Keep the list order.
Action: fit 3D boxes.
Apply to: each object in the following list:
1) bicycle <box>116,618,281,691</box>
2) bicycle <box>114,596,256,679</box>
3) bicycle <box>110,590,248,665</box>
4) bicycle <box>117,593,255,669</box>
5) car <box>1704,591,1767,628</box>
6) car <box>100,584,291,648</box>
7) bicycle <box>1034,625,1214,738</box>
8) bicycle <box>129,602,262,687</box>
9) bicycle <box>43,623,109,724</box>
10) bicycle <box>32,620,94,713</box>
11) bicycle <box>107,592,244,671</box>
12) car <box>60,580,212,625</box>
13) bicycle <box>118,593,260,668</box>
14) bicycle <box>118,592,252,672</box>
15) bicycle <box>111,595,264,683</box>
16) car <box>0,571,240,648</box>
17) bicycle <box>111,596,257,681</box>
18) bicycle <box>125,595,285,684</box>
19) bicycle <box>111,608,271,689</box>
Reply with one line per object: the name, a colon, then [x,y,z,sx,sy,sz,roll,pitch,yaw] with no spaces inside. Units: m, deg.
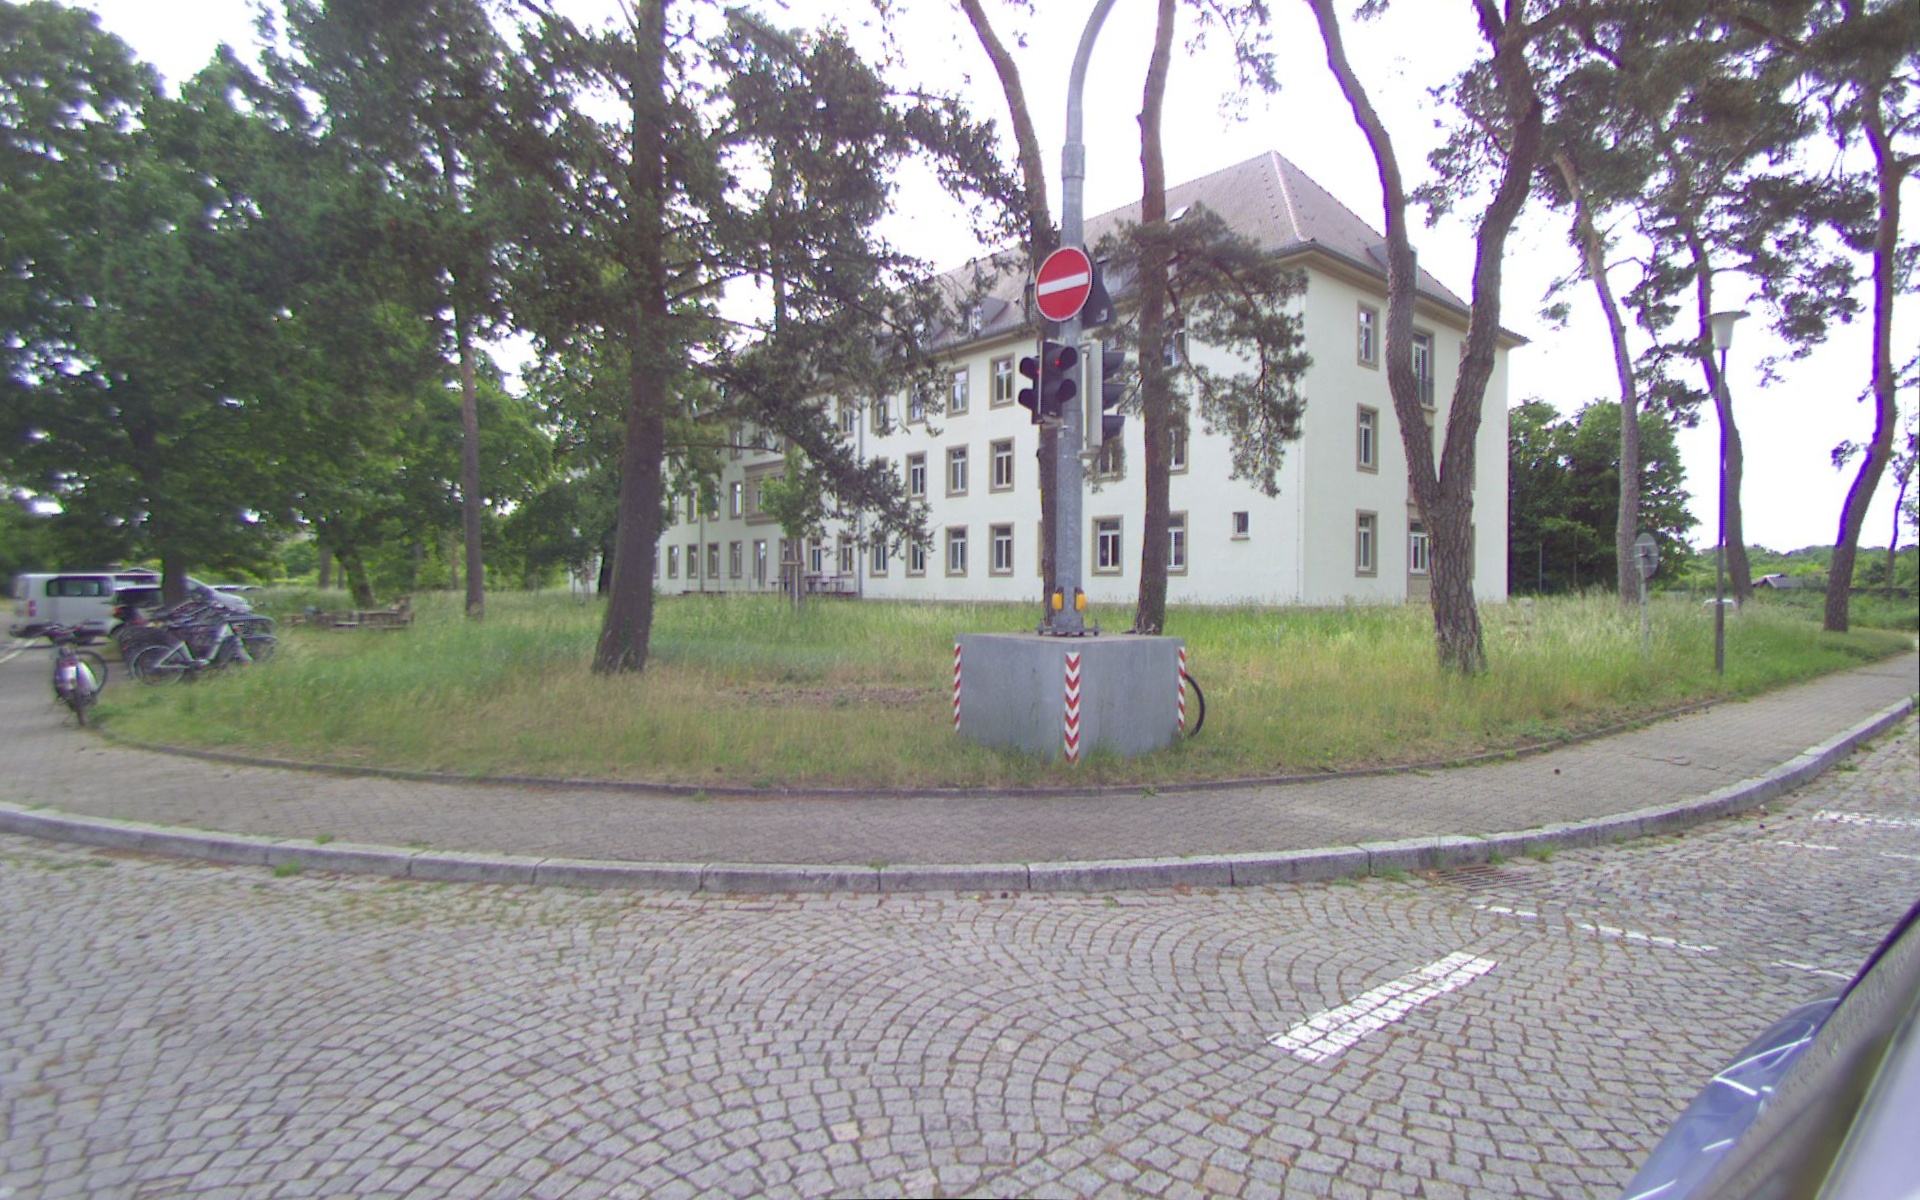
bicycle: [-10.906,0.753,14.563,1.866,0.961,0.543,0,0,-36]
bicycle: [-13.070,0.601,17.124,1.882,1.336,0.393,0,0,-36]
bicycle: [-14.955,0.499,19.447,2.062,1.384,0.760,0,0,-36]
bicycle: [-14.091,0.535,18.501,1.977,1.336,0.542,0,0,-36]
car: [35.064,0.396,45.730,3.222,1.452,1.640,-3,2,-41]
car: [-19.792,0.361,26.316,3.861,1.549,1.861,0,1,-39]
bicycle: [1.480,0.709,9.383,0.563,0.885,1.703,0,0,-40]
bicycle: [-11.686,0.646,15.521,1.608,1.231,0.543,0,0,-36]
bicycle: [-9.754,0.772,11.174,0.521,0.992,1.623,0,0,-41]
bicycle: [-10.994,0.781,12.420,0.533,1.027,1.538,0,0,-41]
bicycle: [-13.859,0.529,17.951,1.902,1.336,0.555,0,0,-36]
car: [-31.598,0.064,38.934,4.437,1.638,1.997,-1,1,-41]
bicycle: [-14.408,0.538,18.980,2.092,1.336,0.556,0,0,-36]
bicycle: [-13.391,0.527,17.550,1.818,1.336,0.557,0,0,-36]
bicycle: [-12.404,0.594,16.322,1.938,1.336,0.578,0,0,-36]
car: [-23.042,0.206,27.865,2.224,1.934,4.804,0,1,34]
bicycle: [-12.800,0.600,16.760,1.883,1.336,0.507,0,0,-36]
bicycle: [-11.894,0.588,16.012,2.009,1.336,0.439,0,0,-36]
bicycle: [-11.366,0.687,15.030,1.866,1.115,0.543,0,0,-36]
